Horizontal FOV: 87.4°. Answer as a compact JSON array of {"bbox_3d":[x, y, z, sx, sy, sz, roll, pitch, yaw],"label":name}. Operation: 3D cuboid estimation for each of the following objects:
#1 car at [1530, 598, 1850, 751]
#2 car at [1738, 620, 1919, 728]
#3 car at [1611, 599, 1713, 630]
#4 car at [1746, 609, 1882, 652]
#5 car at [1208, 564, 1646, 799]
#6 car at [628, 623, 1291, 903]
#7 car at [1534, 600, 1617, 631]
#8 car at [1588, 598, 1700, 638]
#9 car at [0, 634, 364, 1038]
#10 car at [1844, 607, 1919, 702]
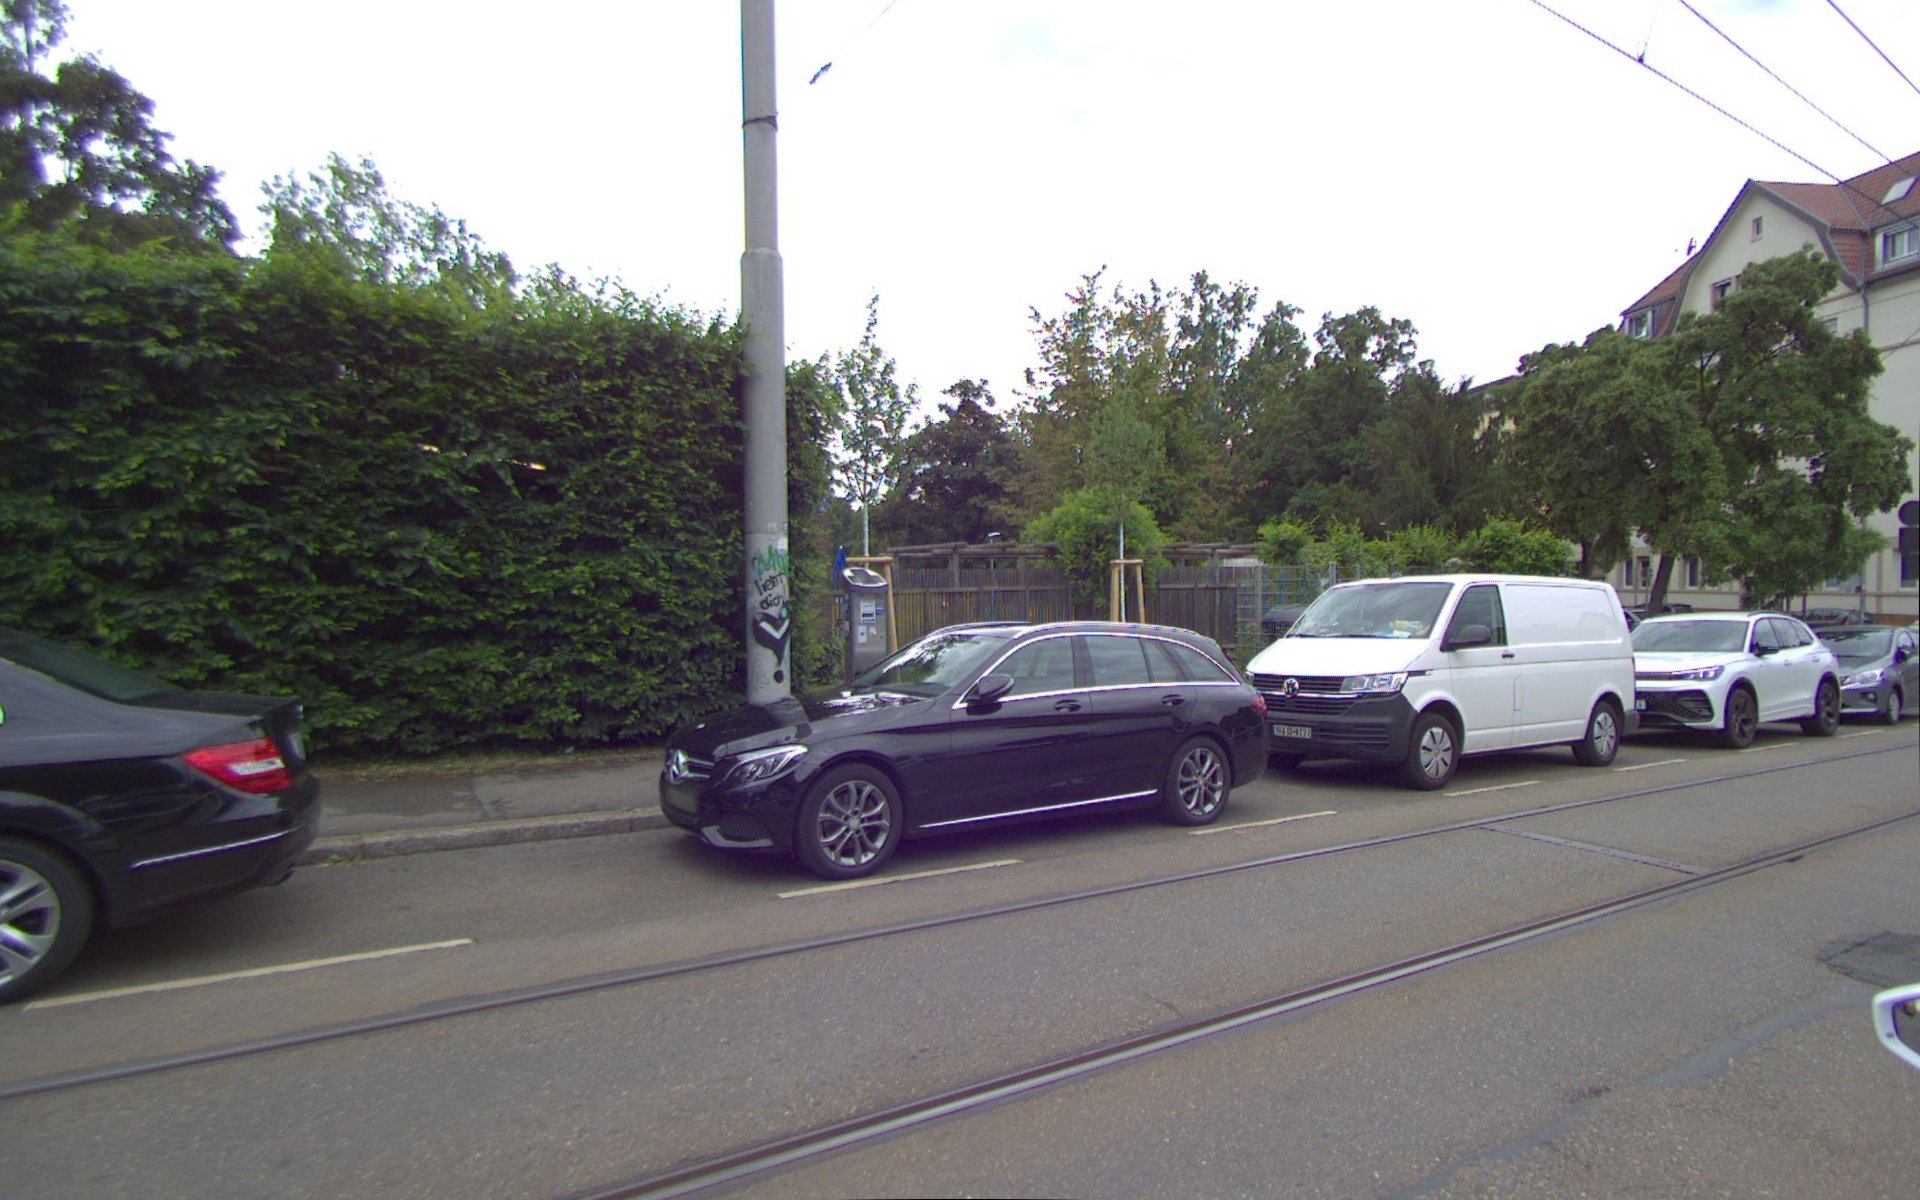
[{"bbox_3d":[9.774,0.902,13.345,4.584,1.709,1.957,2,-1,-33],"label":"car"},{"bbox_3d":[14.355,1.131,16.200,3.828,1.529,1.728,2,-1,-33],"label":"car"},{"bbox_3d":[33.556,0.647,48.149,1.841,1.372,3.997,1,0,-5],"label":"car"},{"bbox_3d":[34.165,1.184,40.317,1.841,1.593,3.997,1,0,-5],"label":"car"},{"bbox_3d":[4.949,0.740,10.420,4.685,1.938,1.957,2,-1,-33],"label":"car"},{"bbox_3d":[0.153,0.919,7.170,4.470,1.405,1.829,2,-1,-33],"label":"car"},{"bbox_3d":[33.009,0.789,53.983,1.727,1.564,3.997,1,0,-5],"label":"car"},{"bbox_3d":[28.625,0.715,42.188,1.727,1.459,3.996,0,2,-5],"label":"car"},{"bbox_3d":[-4.852,0.850,3.796,4.393,1.405,1.829,2,-1,-33],"label":"car"},{"bbox_3d":[19.193,1.055,19.501,4.397,1.709,1.957,2,-1,-33],"label":"car"}]
